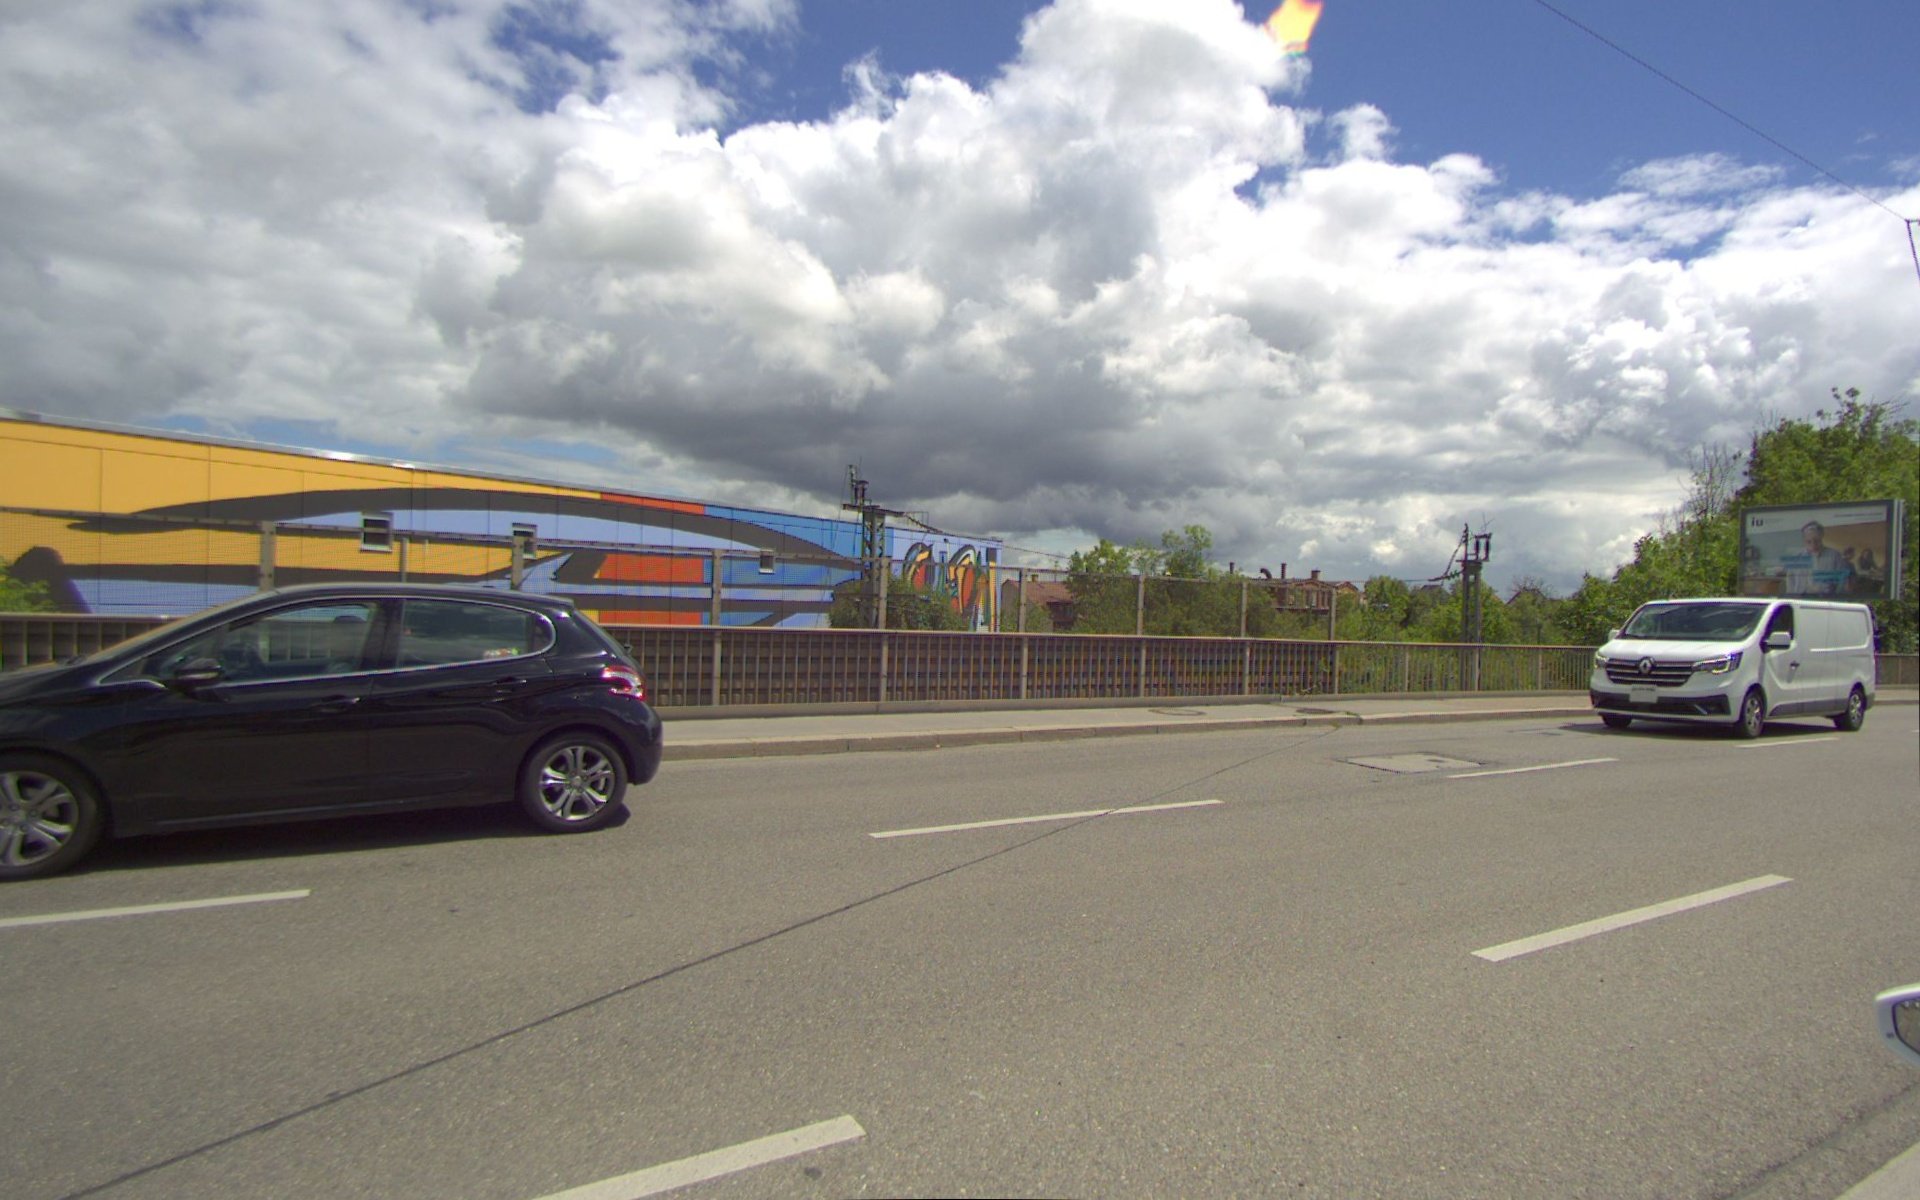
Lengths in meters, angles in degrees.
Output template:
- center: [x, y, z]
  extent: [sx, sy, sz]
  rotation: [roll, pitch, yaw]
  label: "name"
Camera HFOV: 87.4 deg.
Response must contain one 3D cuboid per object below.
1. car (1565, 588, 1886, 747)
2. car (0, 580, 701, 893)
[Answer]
- center: [11.644, 0.932, 15.146]
  extent: [5.585, 2.040, 1.882]
  rotation: [2, 0, -31]
  label: "car"
- center: [-3.660, 0.661, 6.043]
  extent: [3.758, 1.431, 1.599]
  rotation: [2, 0, -32]
  label: "car"
